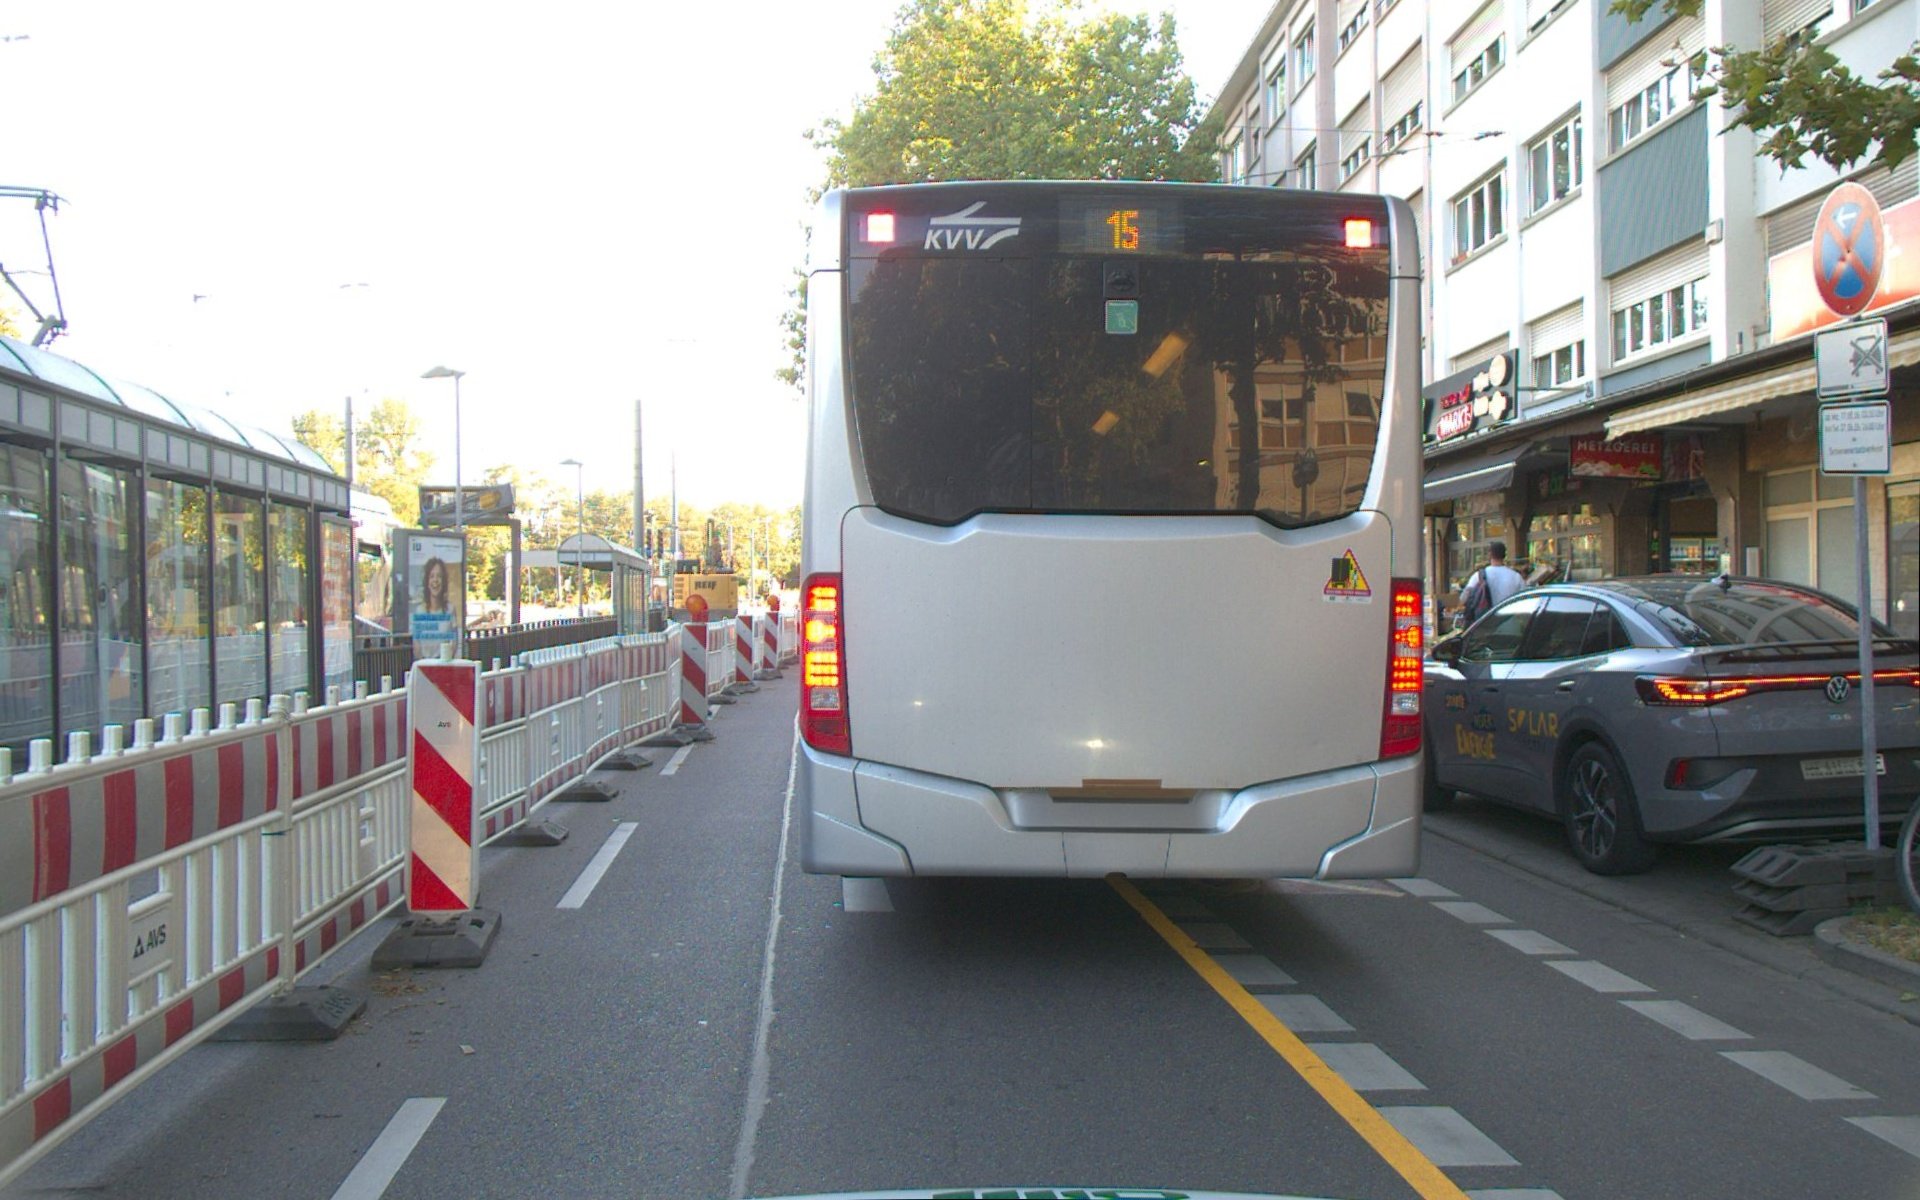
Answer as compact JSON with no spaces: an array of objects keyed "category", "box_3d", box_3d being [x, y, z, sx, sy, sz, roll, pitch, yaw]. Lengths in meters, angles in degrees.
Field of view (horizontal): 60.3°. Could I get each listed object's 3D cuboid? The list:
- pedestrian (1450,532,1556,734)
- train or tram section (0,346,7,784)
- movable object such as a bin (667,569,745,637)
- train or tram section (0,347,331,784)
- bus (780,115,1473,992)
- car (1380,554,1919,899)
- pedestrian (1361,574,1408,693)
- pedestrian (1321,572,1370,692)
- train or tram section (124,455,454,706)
[{"category":"pedestrian","box_3d":[5.695,0.336,17.373,0.755,2.049,0.712,-2,0,-8]},{"category":"train or tram section","box_3d":[-8.610,-0.292,8.199,2.816,3.548,10.323,0,0,-6]},{"category":"movable object such as a bin","box_3d":[-9.700,0.102,63.513,2.752,2.505,3.995,0,0,-6]},{"category":"train or tram section","box_3d":[-9.769,-0.264,18.386,2.781,3.548,10.322,0,0,-7]},{"category":"bus","box_3d":[0.577,-0.186,11.251,2.555,3.225,10.290,0,0,-1]},{"category":"car","box_3d":[4.218,0.607,10.309,1.706,1.625,4.294,-3,0,-5]},{"category":"pedestrian","box_3d":[7.412,0.578,28.905,0.600,2.049,0.696,-1,0,-1]},{"category":"pedestrian","box_3d":[6.713,0.548,28.814,0.676,2.049,0.696,-1,0,2]},{"category":"train or tram section","box_3d":[-11.087,-0.267,28.634,2.763,3.548,10.321,0,0,-7]}]
